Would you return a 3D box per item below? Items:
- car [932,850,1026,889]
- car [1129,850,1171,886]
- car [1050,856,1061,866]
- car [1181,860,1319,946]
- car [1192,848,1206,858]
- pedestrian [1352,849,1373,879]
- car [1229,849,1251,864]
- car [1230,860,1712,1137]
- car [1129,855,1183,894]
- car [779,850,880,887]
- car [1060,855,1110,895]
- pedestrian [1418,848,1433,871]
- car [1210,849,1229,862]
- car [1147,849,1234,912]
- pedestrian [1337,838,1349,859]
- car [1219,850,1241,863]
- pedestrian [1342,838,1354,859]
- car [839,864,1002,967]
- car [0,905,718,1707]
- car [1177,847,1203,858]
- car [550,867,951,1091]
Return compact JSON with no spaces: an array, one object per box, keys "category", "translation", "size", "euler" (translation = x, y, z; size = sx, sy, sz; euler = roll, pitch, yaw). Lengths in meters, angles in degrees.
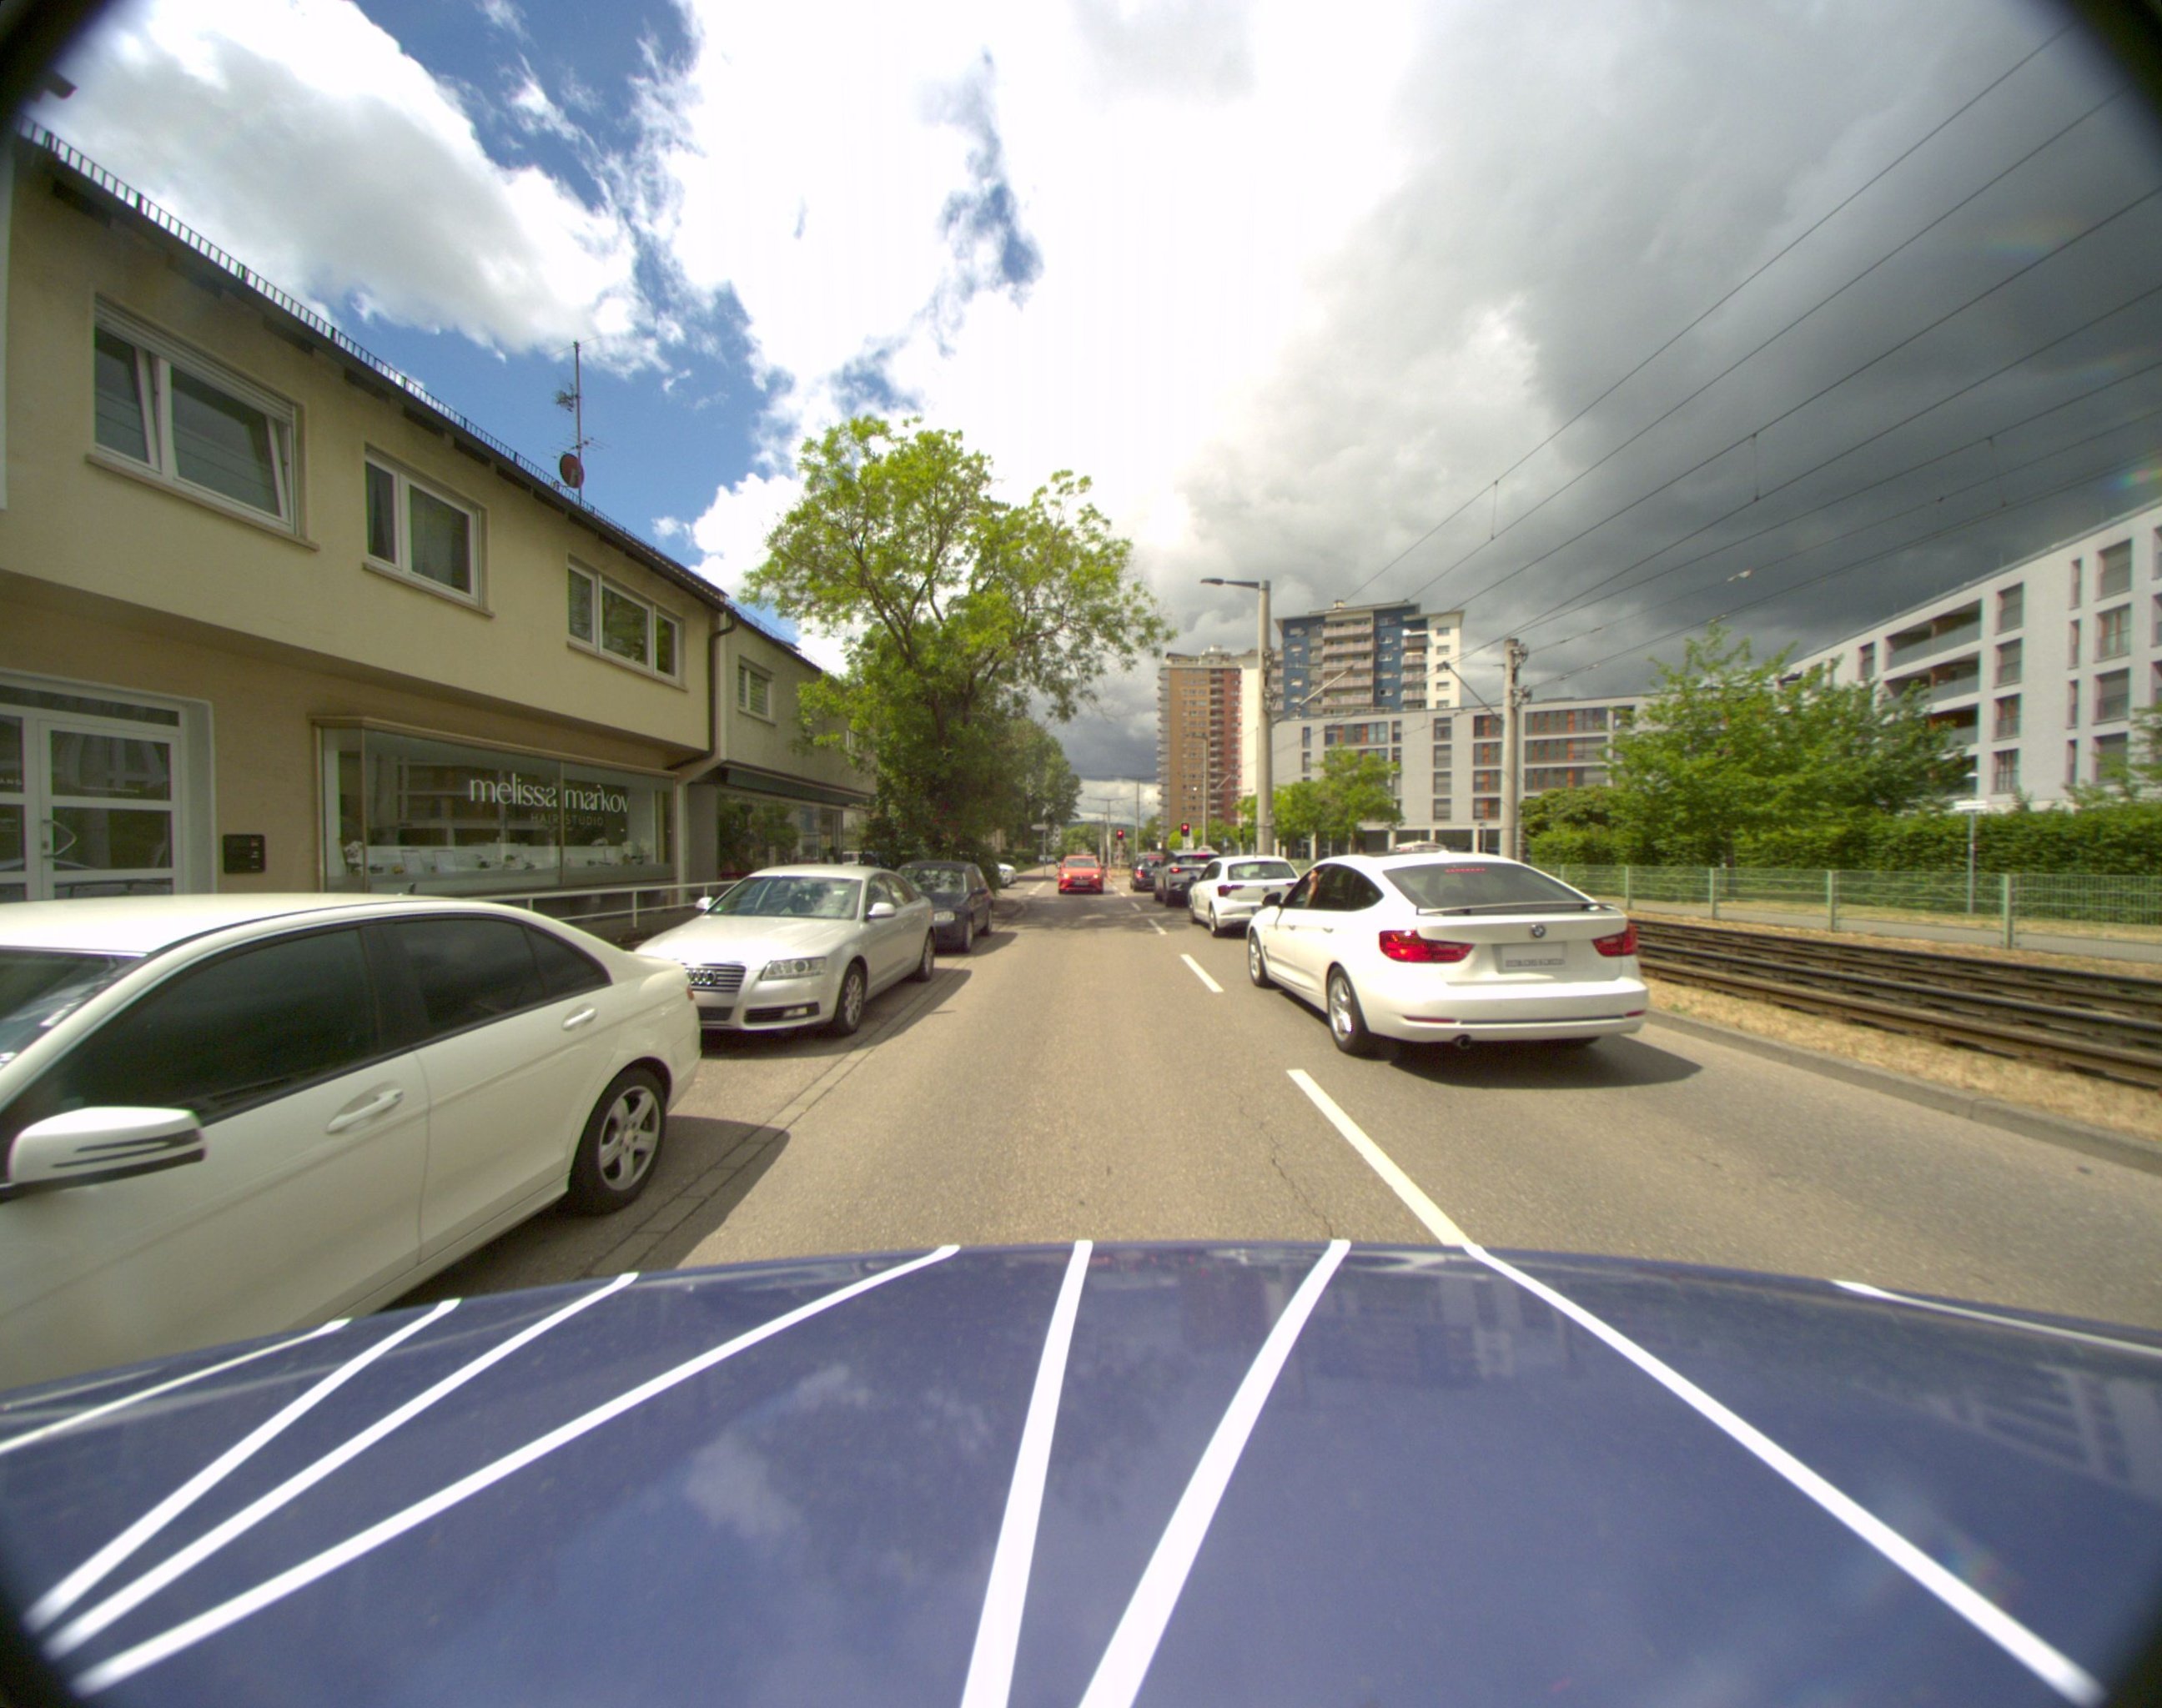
[{"category":"car","translation":[-4.418,0.642,33.192],"size":[3.642,1.562,1.843],"euler":[1,1,12]},{"category":"car","translation":[3.352,0.649,37.484],"size":[1.862,1.650,4.176],"euler":[-1,0,2]},{"category":"car","translation":[-4.256,1.185,127.274],"size":[1.843,1.648,3.789],"euler":[-1,0,0]},{"category":"car","translation":[3.122,0.845,14.835],"size":[1.751,1.398,3.939],"euler":[-1,0,-1]},{"category":"car","translation":[19.992,-0.125,129.289],"size":[1.781,1.650,3.803],"euler":[-1,0,0]},{"category":"pedestrian","translation":[15.223,0.512,41.081],"size":[0.756,1.603,0.938],"euler":[-1,1,0]},{"category":"car","translation":[17.506,0.261,83.712],"size":[1.893,1.613,3.804],"euler":[-1,0,4]},{"category":"car","translation":[2.754,0.859,6.847],"size":[1.822,1.494,4.836],"euler":[-2,0,0]},{"category":"car","translation":[3.001,0.780,31.169],"size":[1.815,1.437,4.465],"euler":[-1,0,1]},{"category":"car","translation":[-10.870,0.618,33.071],"size":[3.938,1.510,1.801],"euler":[1,0,-9]},{"category":"car","translation":[0.205,0.781,29.829],"size":[1.791,1.387,4.241],"euler":[1,1,2]},{"category":"pedestrian","translation":[23.958,0.373,52.804],"size":[0.538,1.601,0.748],"euler":[-1,1,-22]},{"category":"car","translation":[17.540,0.196,96.315],"size":[1.781,1.531,3.803],"euler":[-1,0,0]},{"category":"car","translation":[3.151,0.706,22.651],"size":[1.862,1.680,4.433],"euler":[-1,0,-1]},{"category":"pedestrian","translation":[20.739,-0.431,60.137],"size":[0.749,1.644,0.538],"euler":[-1,1,0]},{"category":"car","translation":[17.663,0.307,90.060],"size":[1.893,1.531,3.803],"euler":[-1,0,1]},{"category":"pedestrian","translation":[20.820,-0.425,59.338],"size":[0.749,1.644,0.538],"euler":[-1,1,0]},{"category":"car","translation":[-2.625,0.959,13.413],"size":[1.818,1.455,4.041],"euler":[-1,0,3]},{"category":"car","translation":[-2.888,1.006,1.887],"size":[1.729,1.418,4.446],"euler":[-1,0,1]},{"category":"car","translation":[19.167,-0.233,133.672],"size":[4.505,1.914,1.877],"euler":[-1,1,-40]},{"category":"car","translation":[-2.819,0.953,7.947],"size":[1.818,1.490,4.911],"euler":[-1,0,3]}]
